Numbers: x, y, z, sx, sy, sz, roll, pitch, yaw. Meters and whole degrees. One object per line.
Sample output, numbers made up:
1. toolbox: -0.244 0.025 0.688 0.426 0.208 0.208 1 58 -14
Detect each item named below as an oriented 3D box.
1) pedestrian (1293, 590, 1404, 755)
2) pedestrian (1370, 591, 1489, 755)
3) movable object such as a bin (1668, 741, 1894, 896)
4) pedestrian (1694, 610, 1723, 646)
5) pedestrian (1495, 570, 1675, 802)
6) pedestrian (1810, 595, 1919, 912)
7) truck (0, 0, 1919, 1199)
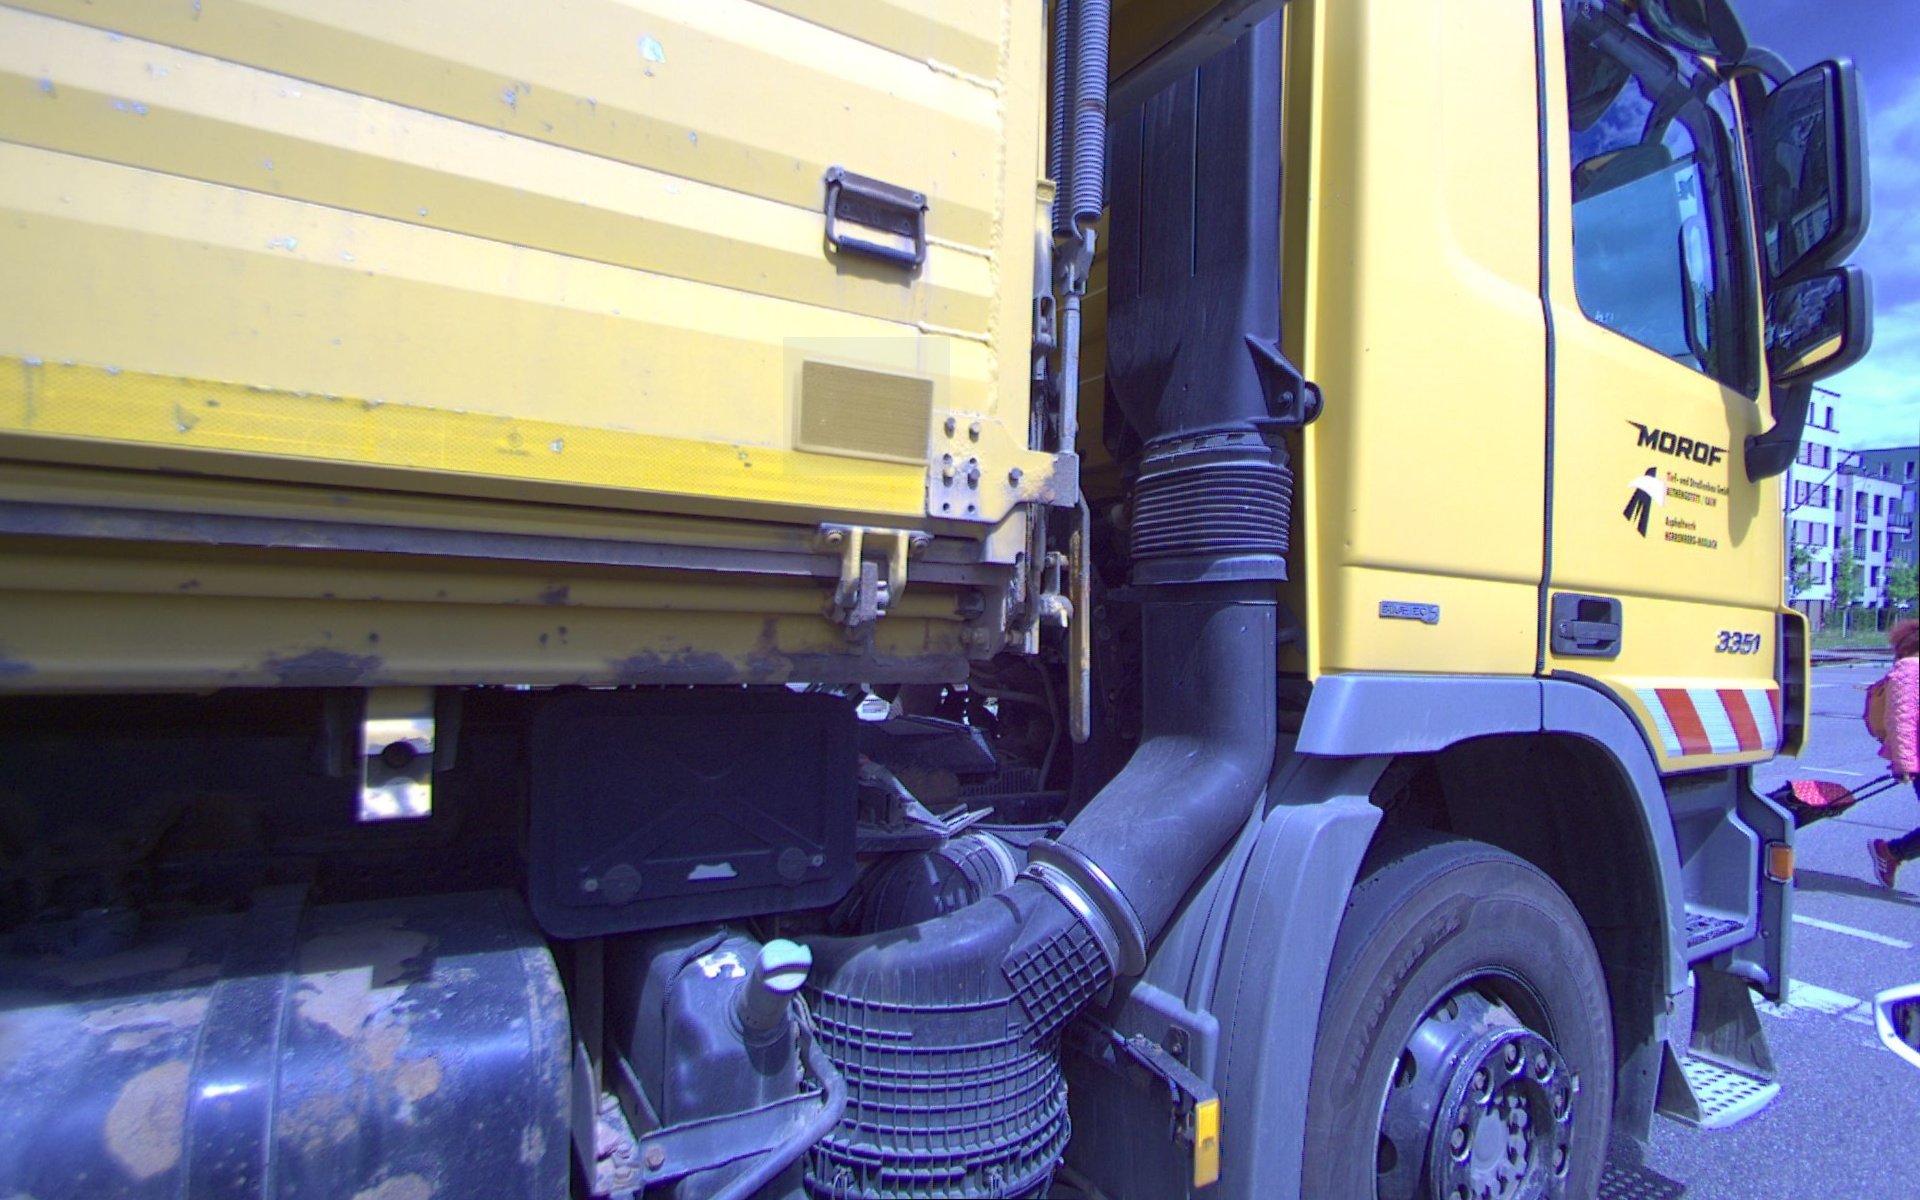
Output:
1. pedestrian: 4.125 0.734 10.691 0.726 1.662 0.817 1 1 -35
2. pedestrian: 5.008 0.743 10.727 0.757 1.656 0.864 1 0 -31
3. movable object such as a bin: 4.737 1.224 5.816 0.768 0.671 0.792 1 0 -30
4. pedestrian: 33.027 1.232 44.306 0.628 1.536 0.827 1 0 -30
5. pedestrian: 5.245 0.665 8.444 0.940 1.798 1.002 1 0 -38
6. pedestrian: 5.098 0.767 5.185 0.737 1.575 0.877 1 0 -29
7. truck: -1.741 -0.229 1.657 7.916 3.439 3.033 1 0 -32
